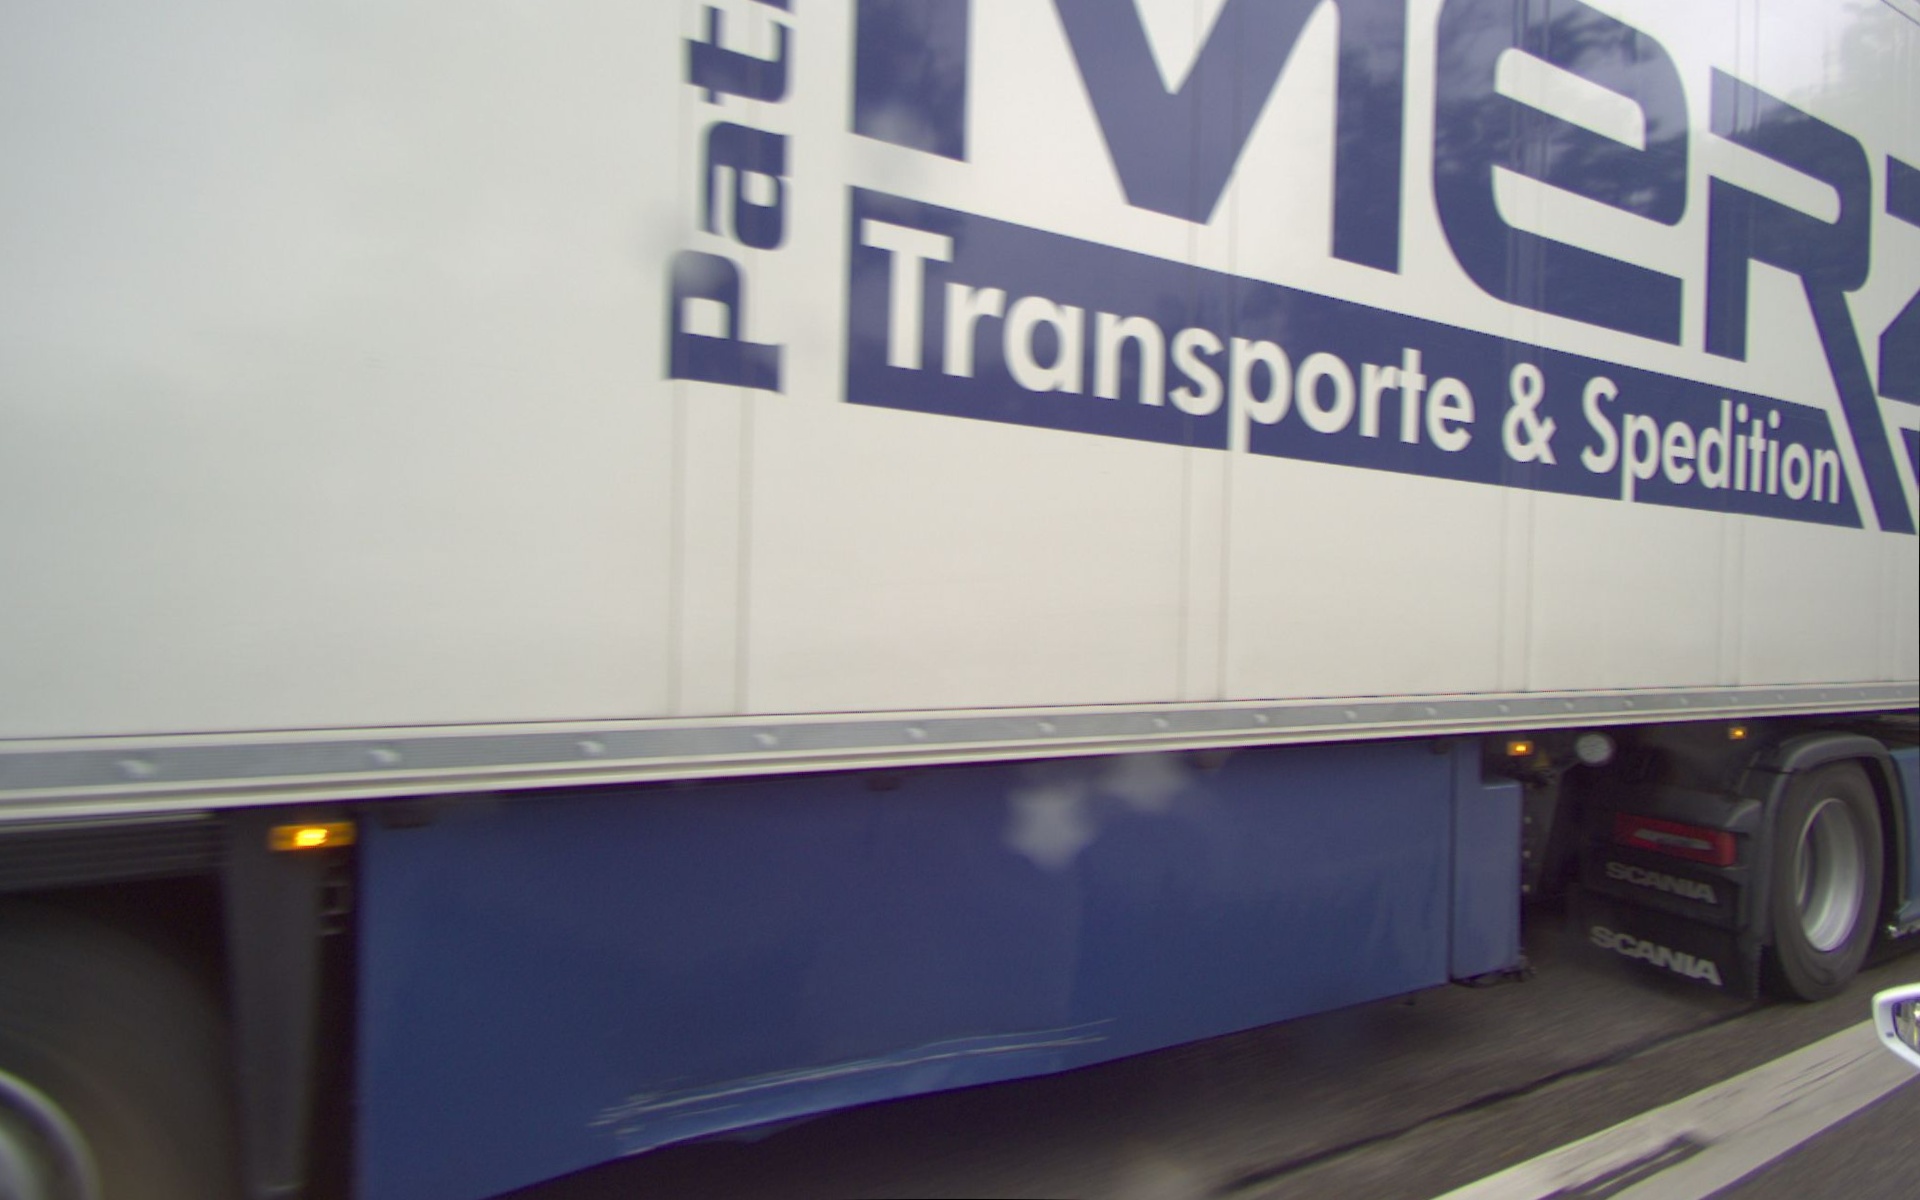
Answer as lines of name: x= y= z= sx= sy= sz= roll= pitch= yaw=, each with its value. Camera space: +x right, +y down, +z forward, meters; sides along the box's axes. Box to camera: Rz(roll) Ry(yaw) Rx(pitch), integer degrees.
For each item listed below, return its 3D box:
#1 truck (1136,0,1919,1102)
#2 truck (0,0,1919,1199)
truck: x=4.571 y=-0.506 z=5.934 sx=6.701 sy=4.253 sz=2.750 roll=1 pitch=-1 yaw=-29
truck: x=-1.656 y=-0.582 z=2.573 sx=12.861 sy=4.253 sz=2.752 roll=1 pitch=-1 yaw=-27
